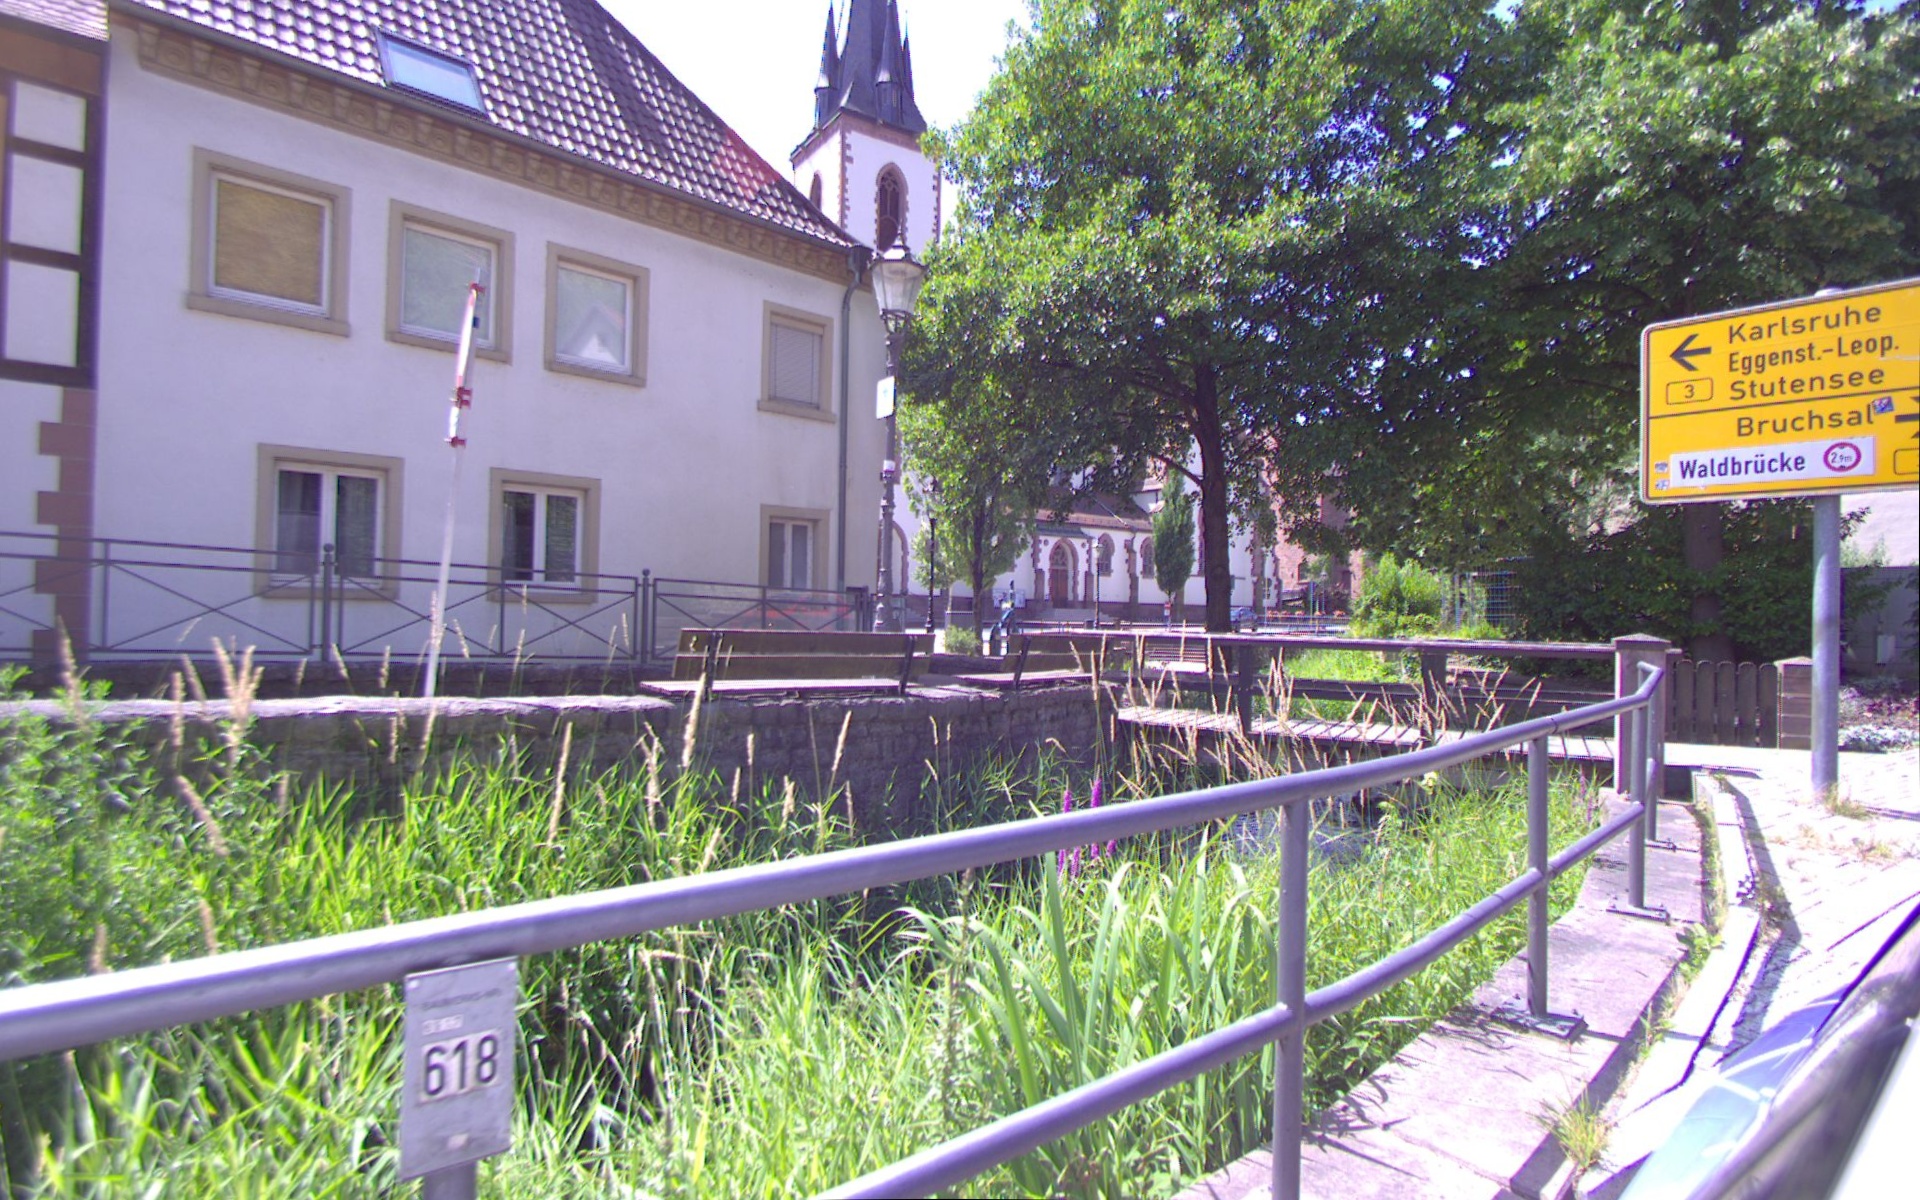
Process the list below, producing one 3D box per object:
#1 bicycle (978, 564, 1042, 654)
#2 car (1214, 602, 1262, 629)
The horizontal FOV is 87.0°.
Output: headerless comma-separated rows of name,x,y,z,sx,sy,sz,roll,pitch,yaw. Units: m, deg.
bicycle,1.255,0.216,24.535,0.773,2.040,2.650,-3,-2,19
car,16.630,0.901,60.391,1.659,1.524,3.763,0,-1,35
